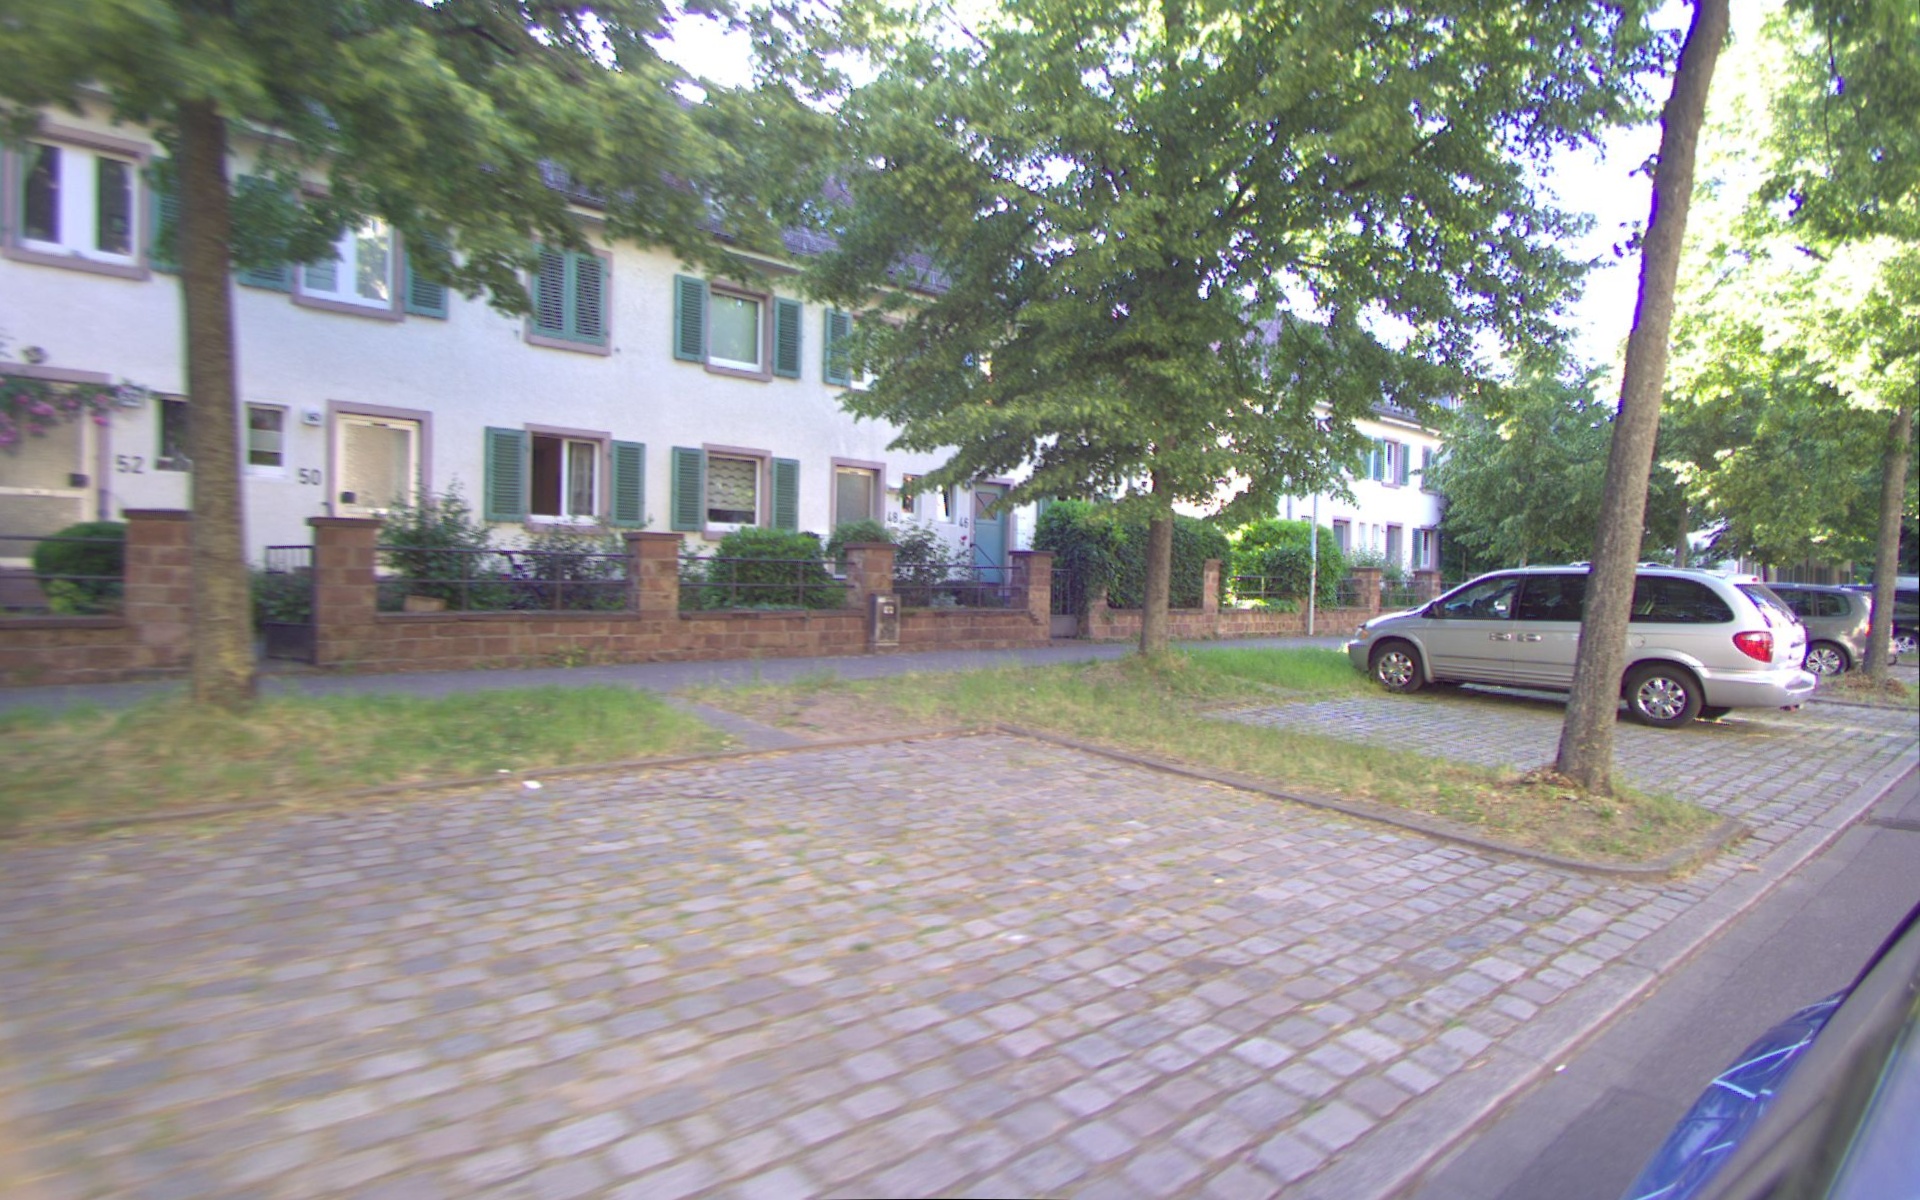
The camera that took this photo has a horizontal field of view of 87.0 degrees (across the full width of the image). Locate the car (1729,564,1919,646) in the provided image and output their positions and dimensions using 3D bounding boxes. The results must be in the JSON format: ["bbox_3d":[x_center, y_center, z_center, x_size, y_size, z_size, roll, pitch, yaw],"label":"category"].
[{"bbox_3d":[22.877,0.107,25.975,1.872,1.697,4.597,0,5,-38],"label":"car"}]

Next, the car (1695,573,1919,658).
[{"bbox_3d":[19.006,0.279,22.703,1.561,1.470,3.732,0,5,-40],"label":"car"}]

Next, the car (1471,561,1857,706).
[{"bbox_3d":[9.708,0.356,14.246,1.663,1.494,4.080,1,4,-39],"label":"car"}]

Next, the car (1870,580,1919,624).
[{"bbox_3d":[37.361,0.217,37.758,1.862,1.557,4.848,0,5,-42],"label":"car"}]

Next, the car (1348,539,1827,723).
[{"bbox_3d":[7.457,0.199,12.514,1.800,1.730,4.633,0,4,-38],"label":"car"}]

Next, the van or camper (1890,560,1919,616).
[{"bbox_3d":[47.212,-0.372,46.875,2.124,2.546,5.735,0,5,-40],"label":"van or camper"}]

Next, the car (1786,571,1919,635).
[{"bbox_3d":[28.228,0.123,30.773,1.842,1.652,4.487,0,5,-41],"label":"car"}]

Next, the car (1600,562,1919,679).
[{"bbox_3d":[15.064,0.279,19.230,4.543,1.652,1.783,7,6,44],"label":"car"}]

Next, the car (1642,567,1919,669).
[{"bbox_3d":[17.221,0.286,21.361,1.659,1.652,4.288,0,5,-37],"label":"car"}]
